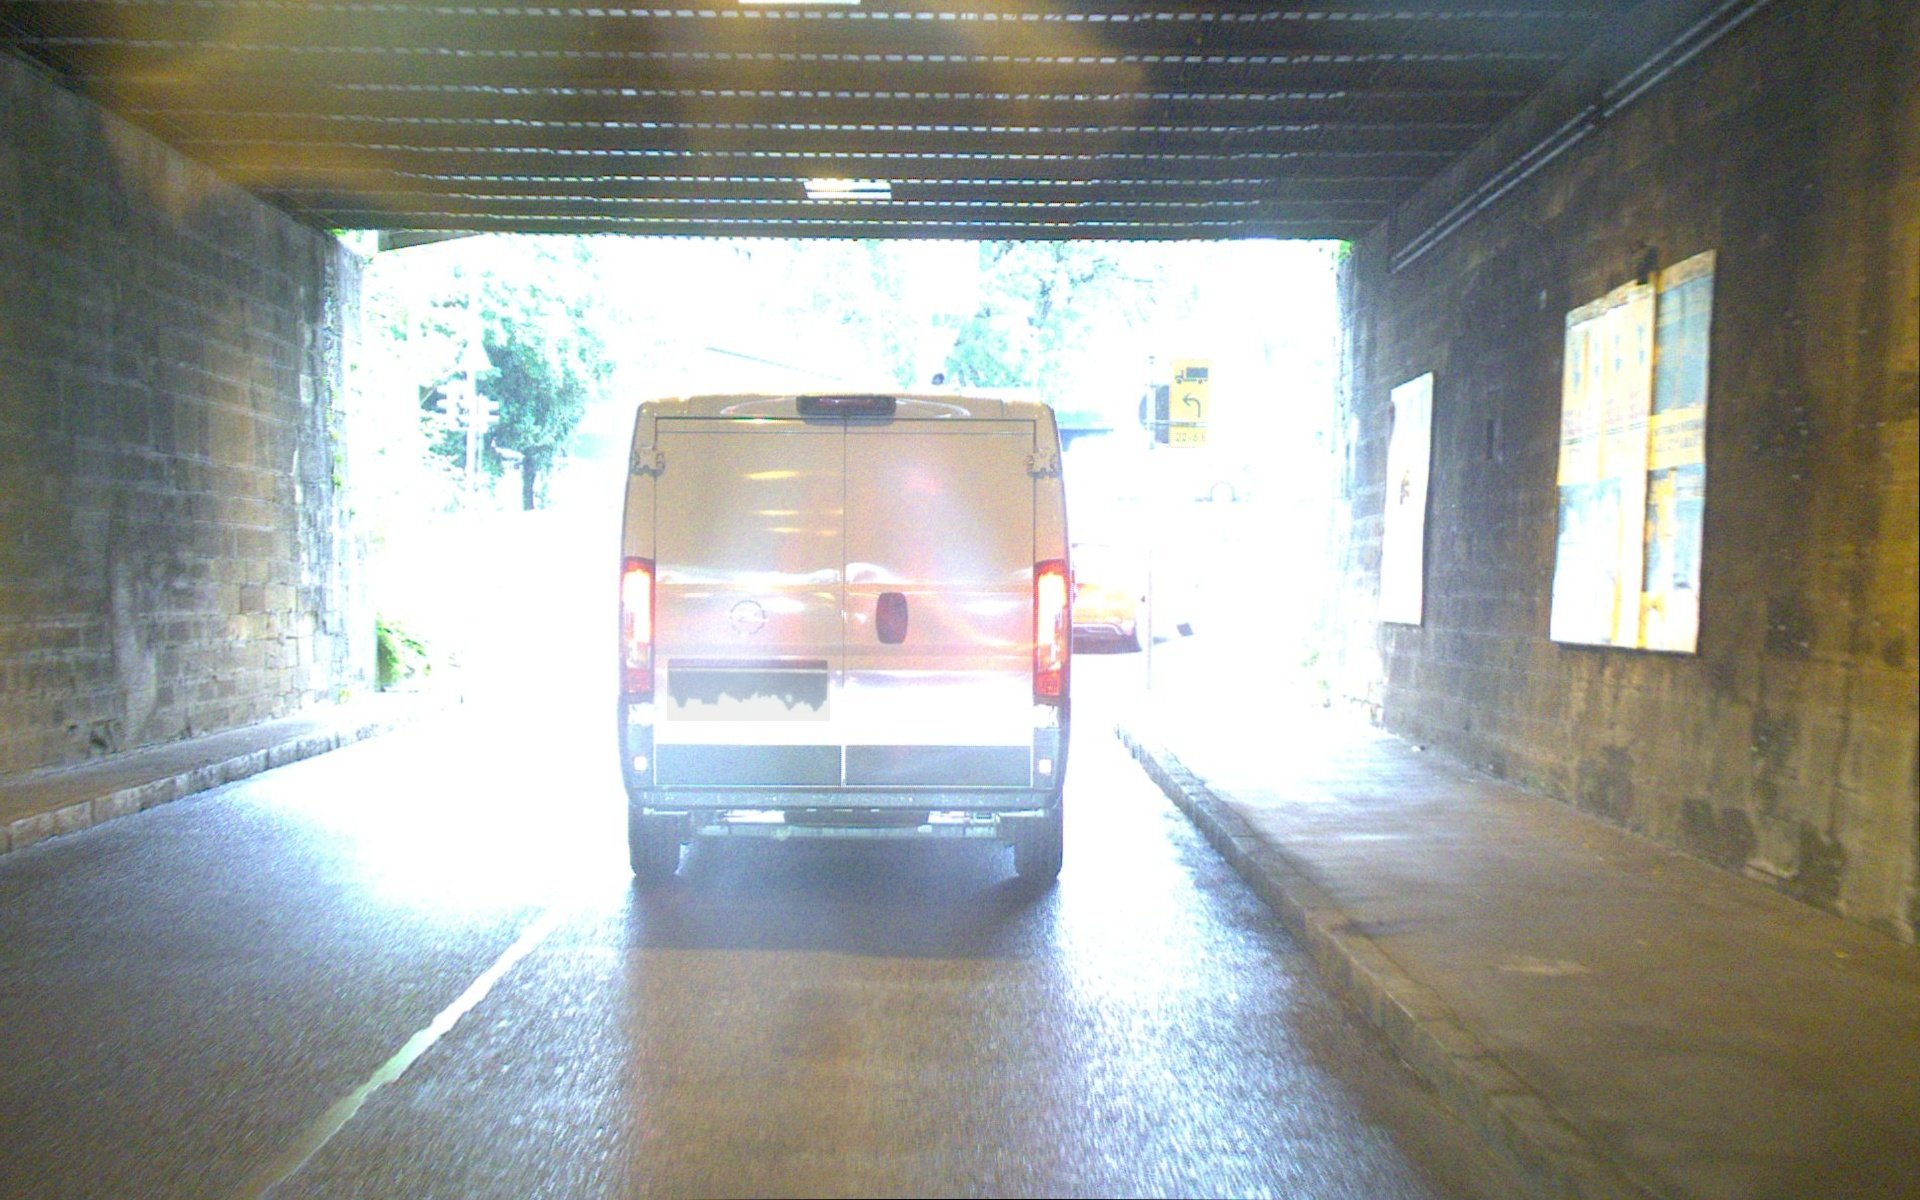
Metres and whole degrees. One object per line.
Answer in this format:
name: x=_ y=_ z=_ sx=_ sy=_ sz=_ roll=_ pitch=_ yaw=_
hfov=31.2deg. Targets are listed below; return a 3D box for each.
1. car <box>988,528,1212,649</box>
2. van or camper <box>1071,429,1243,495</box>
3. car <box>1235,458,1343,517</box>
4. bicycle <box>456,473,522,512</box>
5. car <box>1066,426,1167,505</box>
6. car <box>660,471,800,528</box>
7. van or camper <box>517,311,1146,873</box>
car: x=1.796 y=-0.160 z=42.790 sx=1.837 sy=1.433 sz=4.100 roll=0 pitch=1 yaw=16
van or camper: x=6.222 y=-4.330 z=108.277 sx=5.309 sy=2.007 sz=2.078 roll=1 pitch=1 yaw=6
car: x=8.559 y=-2.923 z=89.676 sx=1.993 sy=1.481 sz=4.001 roll=0 pitch=1 yaw=-7
bicycle: x=-13.817 y=-3.142 z=100.883 sx=0.928 sy=1.124 sz=2.288 roll=1 pitch=1 yaw=21
car: x=4.027 y=-3.461 z=89.149 sx=1.993 sy=1.941 sz=4.001 roll=0 pitch=1 yaw=-7
car: x=-7.026 y=-3.073 z=105.406 sx=1.998 sy=1.682 sz=3.990 roll=2 pitch=2 yaw=43
van or camper: x=-0.595 y=-0.001 z=17.295 sx=2.698 sy=2.408 sz=4.903 roll=0 pitch=-1 yaw=-1
